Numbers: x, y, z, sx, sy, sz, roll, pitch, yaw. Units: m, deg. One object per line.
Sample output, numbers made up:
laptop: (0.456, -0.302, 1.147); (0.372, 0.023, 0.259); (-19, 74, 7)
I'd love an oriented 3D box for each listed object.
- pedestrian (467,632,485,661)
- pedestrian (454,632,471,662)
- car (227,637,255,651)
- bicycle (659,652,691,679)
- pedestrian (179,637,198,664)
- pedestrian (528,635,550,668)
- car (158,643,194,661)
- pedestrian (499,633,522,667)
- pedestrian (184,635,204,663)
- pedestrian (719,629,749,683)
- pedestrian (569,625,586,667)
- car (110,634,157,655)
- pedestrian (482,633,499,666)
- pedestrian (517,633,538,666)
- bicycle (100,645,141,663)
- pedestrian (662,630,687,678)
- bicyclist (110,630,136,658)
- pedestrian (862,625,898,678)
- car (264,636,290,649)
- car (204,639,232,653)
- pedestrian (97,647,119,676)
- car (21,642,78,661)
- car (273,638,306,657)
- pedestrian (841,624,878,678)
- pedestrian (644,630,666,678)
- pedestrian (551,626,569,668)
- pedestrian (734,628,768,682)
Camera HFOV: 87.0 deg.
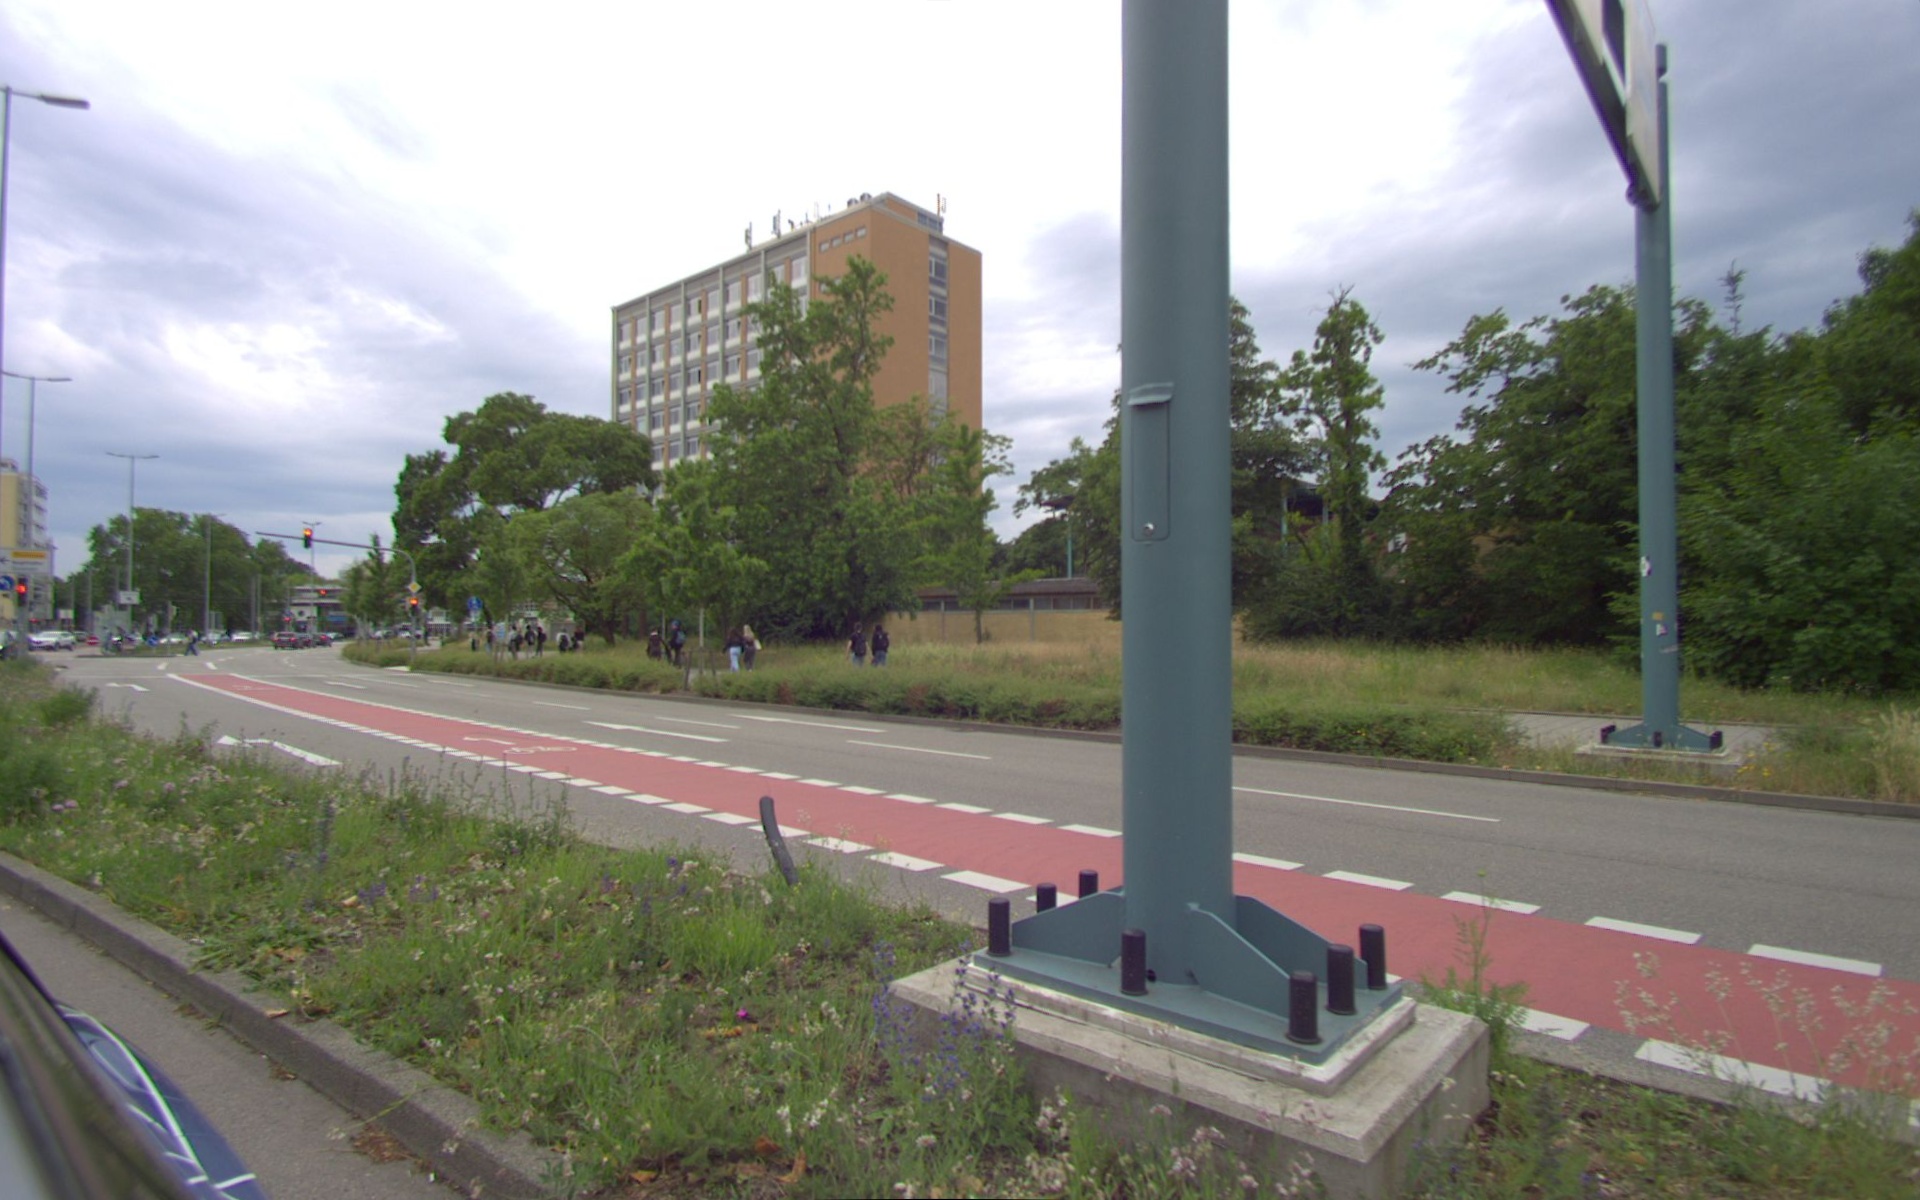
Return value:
pedestrian: (-28.096, 2.687, 58.743); (0.698, 1.683, 0.891); (0, -2, -41)
pedestrian: (-28.608, 2.695, 58.191); (0.698, 1.684, 0.944); (1, -3, -41)
car: (-89.156, 5.471, 125.540); (1.775, 1.608, 3.771); (2, -3, -20)
bicycle: (-9.870, 2.263, 34.970); (0.651, 0.895, 1.720); (2, -4, -29)
pedestrian: (-49.776, 3.268, 65.294); (0.706, 1.680, 0.768); (-2, -4, 37)
pedestrian: (-21.177, 2.607, 50.891); (0.825, 1.625, 0.630); (-2, -2, 24)
car: (-81.608, 5.429, 105.397); (1.808, 1.777, 3.923); (2, -3, -19)
pedestrian: (-20.342, 2.268, 45.788); (0.719, 1.491, 0.814); (3, -4, -41)
pedestrian: (-51.048, 3.260, 67.464); (0.736, 1.818, 0.762); (-1, -4, 24)
pedestrian: (-7.070, 1.742, 31.714); (0.720, 1.673, 0.579); (-2, -4, 40)
pedestrian: (-15.945, 1.935, 42.217); (0.570, 1.725, 0.764); (2, -3, -18)
car: (-77.346, 4.203, 94.800); (1.966, 1.896, 4.011); (1, -3, -16)
pedestrian: (-25.667, 2.694, 55.322); (0.629, 1.815, 0.763); (1, -3, -41)
pedestrian: (-19.796, 2.254, 46.335); (0.627, 1.491, 0.763); (3, -4, -41)
bicycle: (-54.225, 3.469, 65.353); (1.976, 1.151, 0.807); (3, -4, -43)
pedestrian: (-9.870, 1.880, 34.998); (0.651, 1.644, 0.766); (2, -4, -29)
bicyclist: (-54.151, 2.852, 65.452); (1.174, 1.749, 0.807); (3, -4, -43)
pedestrian: (-2.122, 1.371, 26.752); (0.681, 1.373, 0.638); (-3, -4, 43)
car: (-91.836, 5.750, 136.097); (1.584, 1.608, 3.768); (1, -3, -13)
car: (-85.930, 5.378, 117.192); (1.583, 1.608, 3.771); (2, -3, -20)
pedestrian: (-52.589, 3.795, 62.474); (0.904, 1.818, 0.542); (2, -4, -28)
car: (-73.344, 4.153, 81.608); (1.790, 1.486, 4.044); (1, -3, -16)
car: (-63.002, 4.453, 95.187); (1.785, 1.680, 3.962); (2, -2, -22)
pedestrian: (-2.619, 1.329, 26.267); (0.711, 1.368, 0.637); (-3, -5, 44)
pedestrian: (-10.441, 1.847, 34.618); (0.567, 1.621, 0.618); (2, -4, -29)
pedestrian: (-16.453, 1.920, 41.646); (0.613, 1.708, 0.749); (2, -3, -20)
pedestrian: (-6.653, 1.762, 32.232); (0.767, 1.685, 0.699); (-2, -4, 40)
